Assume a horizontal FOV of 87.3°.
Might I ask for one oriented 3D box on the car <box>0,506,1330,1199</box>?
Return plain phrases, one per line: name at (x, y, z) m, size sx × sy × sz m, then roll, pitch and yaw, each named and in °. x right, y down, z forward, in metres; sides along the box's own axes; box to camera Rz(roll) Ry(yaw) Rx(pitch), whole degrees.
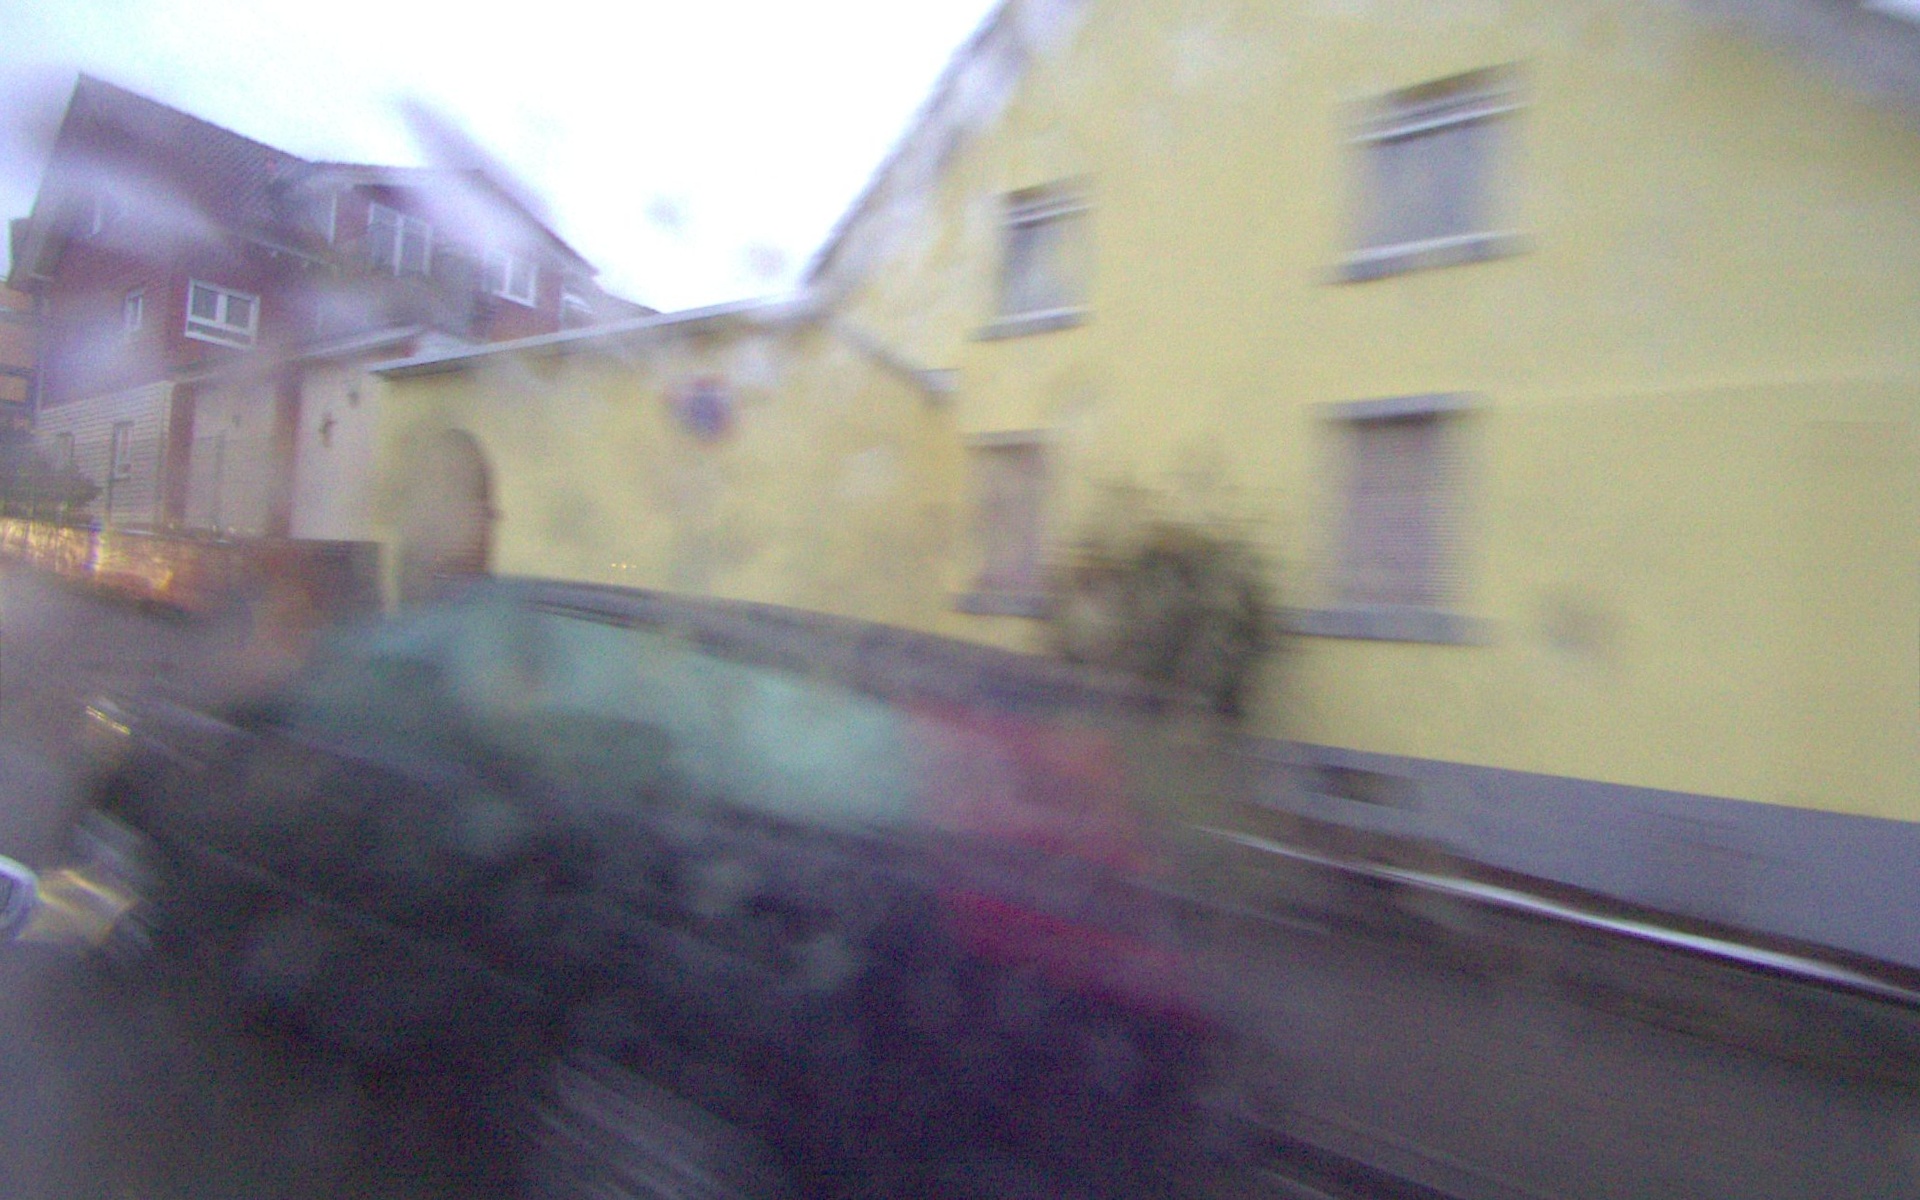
car at (-1.441, 0.628, 3.397) m, size 4.718 × 1.448 × 1.729 m, roll 6°, pitch -1°, yaw 31°
